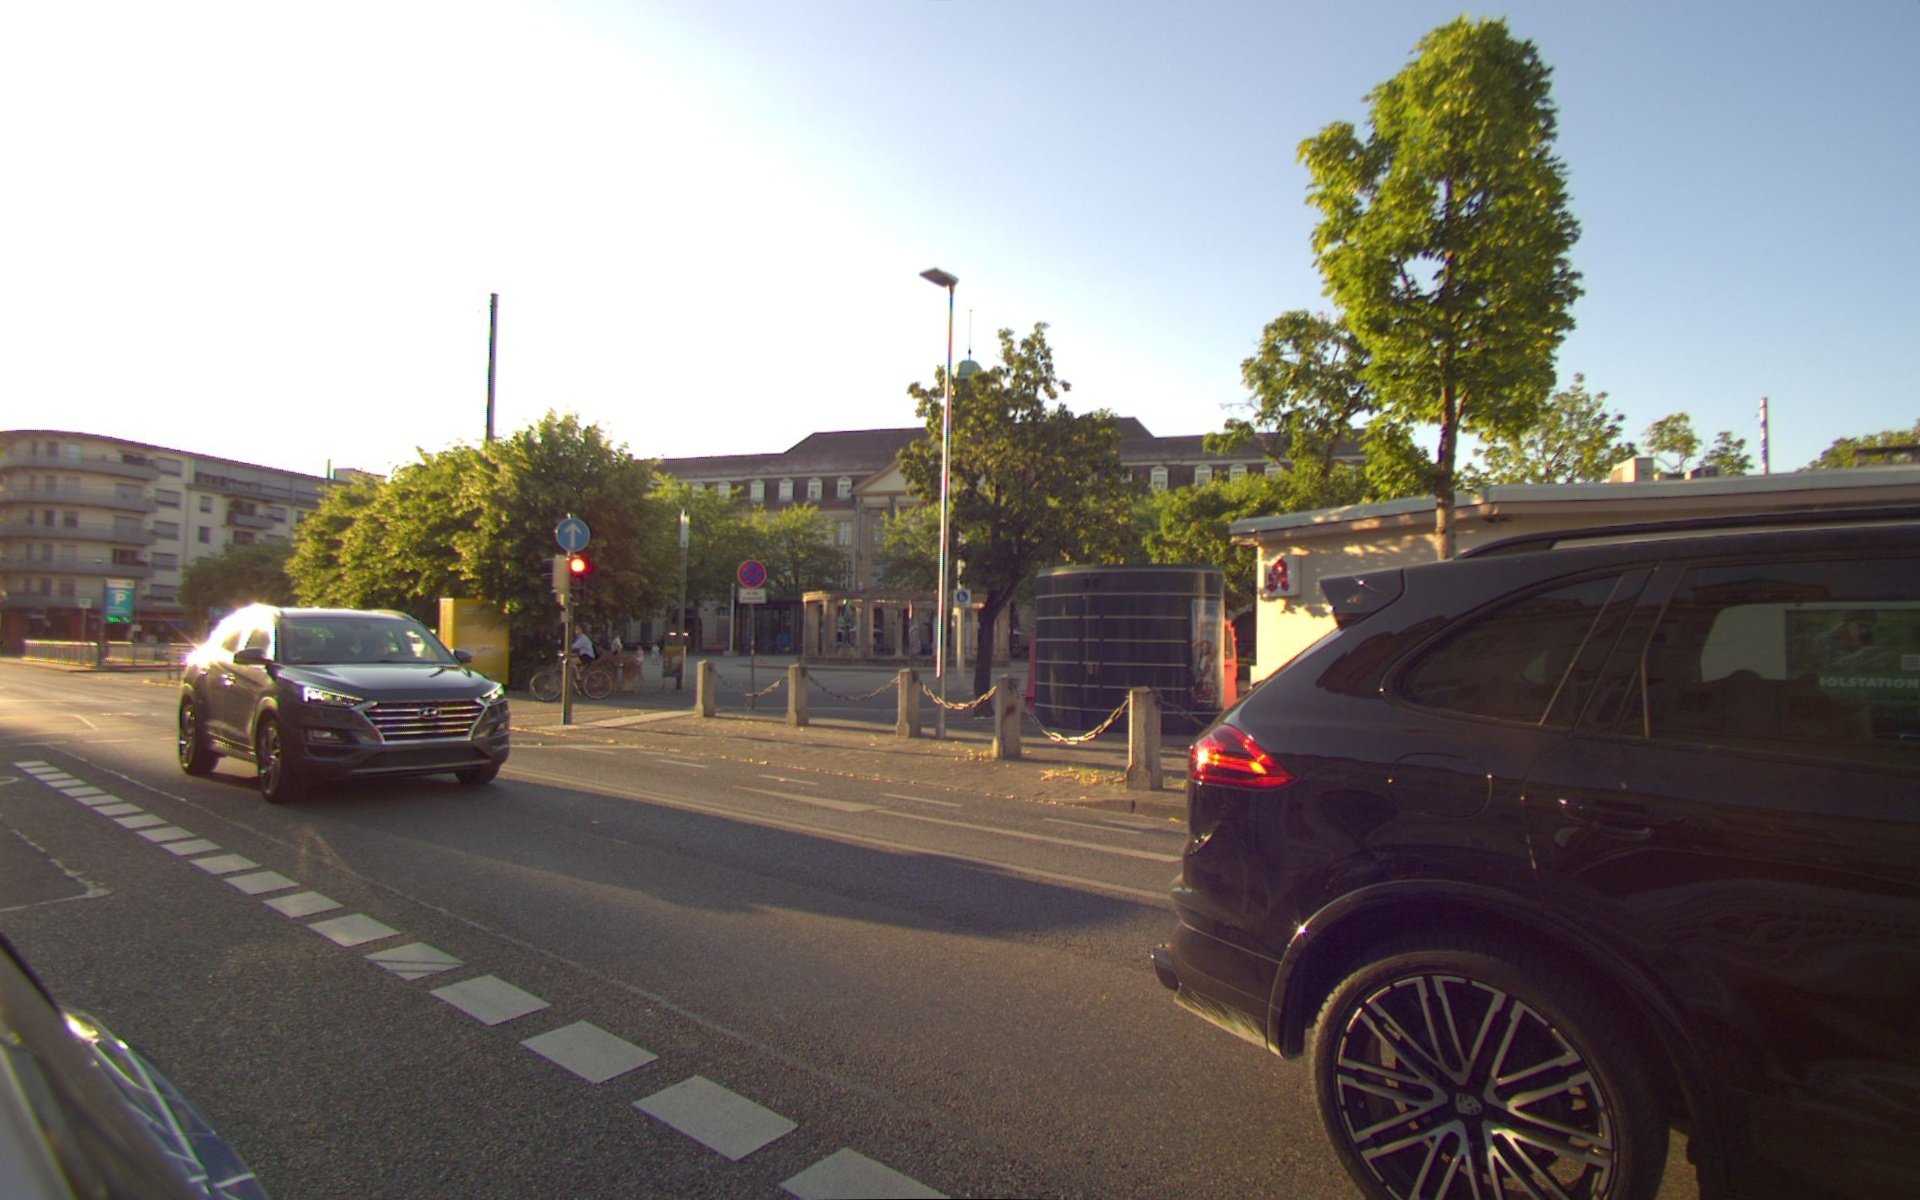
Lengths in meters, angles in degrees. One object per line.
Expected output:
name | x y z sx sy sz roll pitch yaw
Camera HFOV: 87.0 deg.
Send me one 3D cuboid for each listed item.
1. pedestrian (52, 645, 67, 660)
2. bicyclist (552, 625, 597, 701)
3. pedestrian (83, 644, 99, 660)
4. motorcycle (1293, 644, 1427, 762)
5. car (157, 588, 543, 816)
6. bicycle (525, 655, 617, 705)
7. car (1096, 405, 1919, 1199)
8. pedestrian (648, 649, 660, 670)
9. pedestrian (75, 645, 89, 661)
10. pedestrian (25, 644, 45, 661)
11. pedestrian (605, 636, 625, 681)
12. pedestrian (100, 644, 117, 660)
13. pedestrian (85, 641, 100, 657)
pedestrian | -72.492 4.227 81.456 0.875 1.201 0.734 3 -4 -40
bicyclist | -9.086 1.479 23.839 0.766 1.737 0.857 3 -4 -34
pedestrian | -72.494 4.335 84.441 0.814 1.332 0.684 -1 -3 16
motorcycle | 5.417 1.330 13.610 0.867 1.440 2.554 -2 -4 41
car | -6.011 0.879 9.755 4.447 1.702 1.853 -2 -5 41
bicycle | -9.144 1.870 23.801 1.889 1.126 0.707 3 -4 -33
car | 2.723 0.558 2.066 4.559 1.727 1.928 -2 -5 41
pedestrian | -15.982 3.117 52.852 0.454 1.071 0.531 0 -3 -30
pedestrian | -72.519 4.389 83.581 0.888 1.332 0.723 -2 -4 39
pedestrian | -73.278 4.155 80.196 0.726 1.332 0.885 0 -3 13
pedestrian | -12.906 2.175 37.865 0.693 1.633 0.843 1 -2 -19
pedestrian | -71.329 4.334 84.788 0.884 1.332 0.726 -1 -3 27
pedestrian | -72.162 4.105 84.172 0.887 1.332 0.724 -2 -4 38
